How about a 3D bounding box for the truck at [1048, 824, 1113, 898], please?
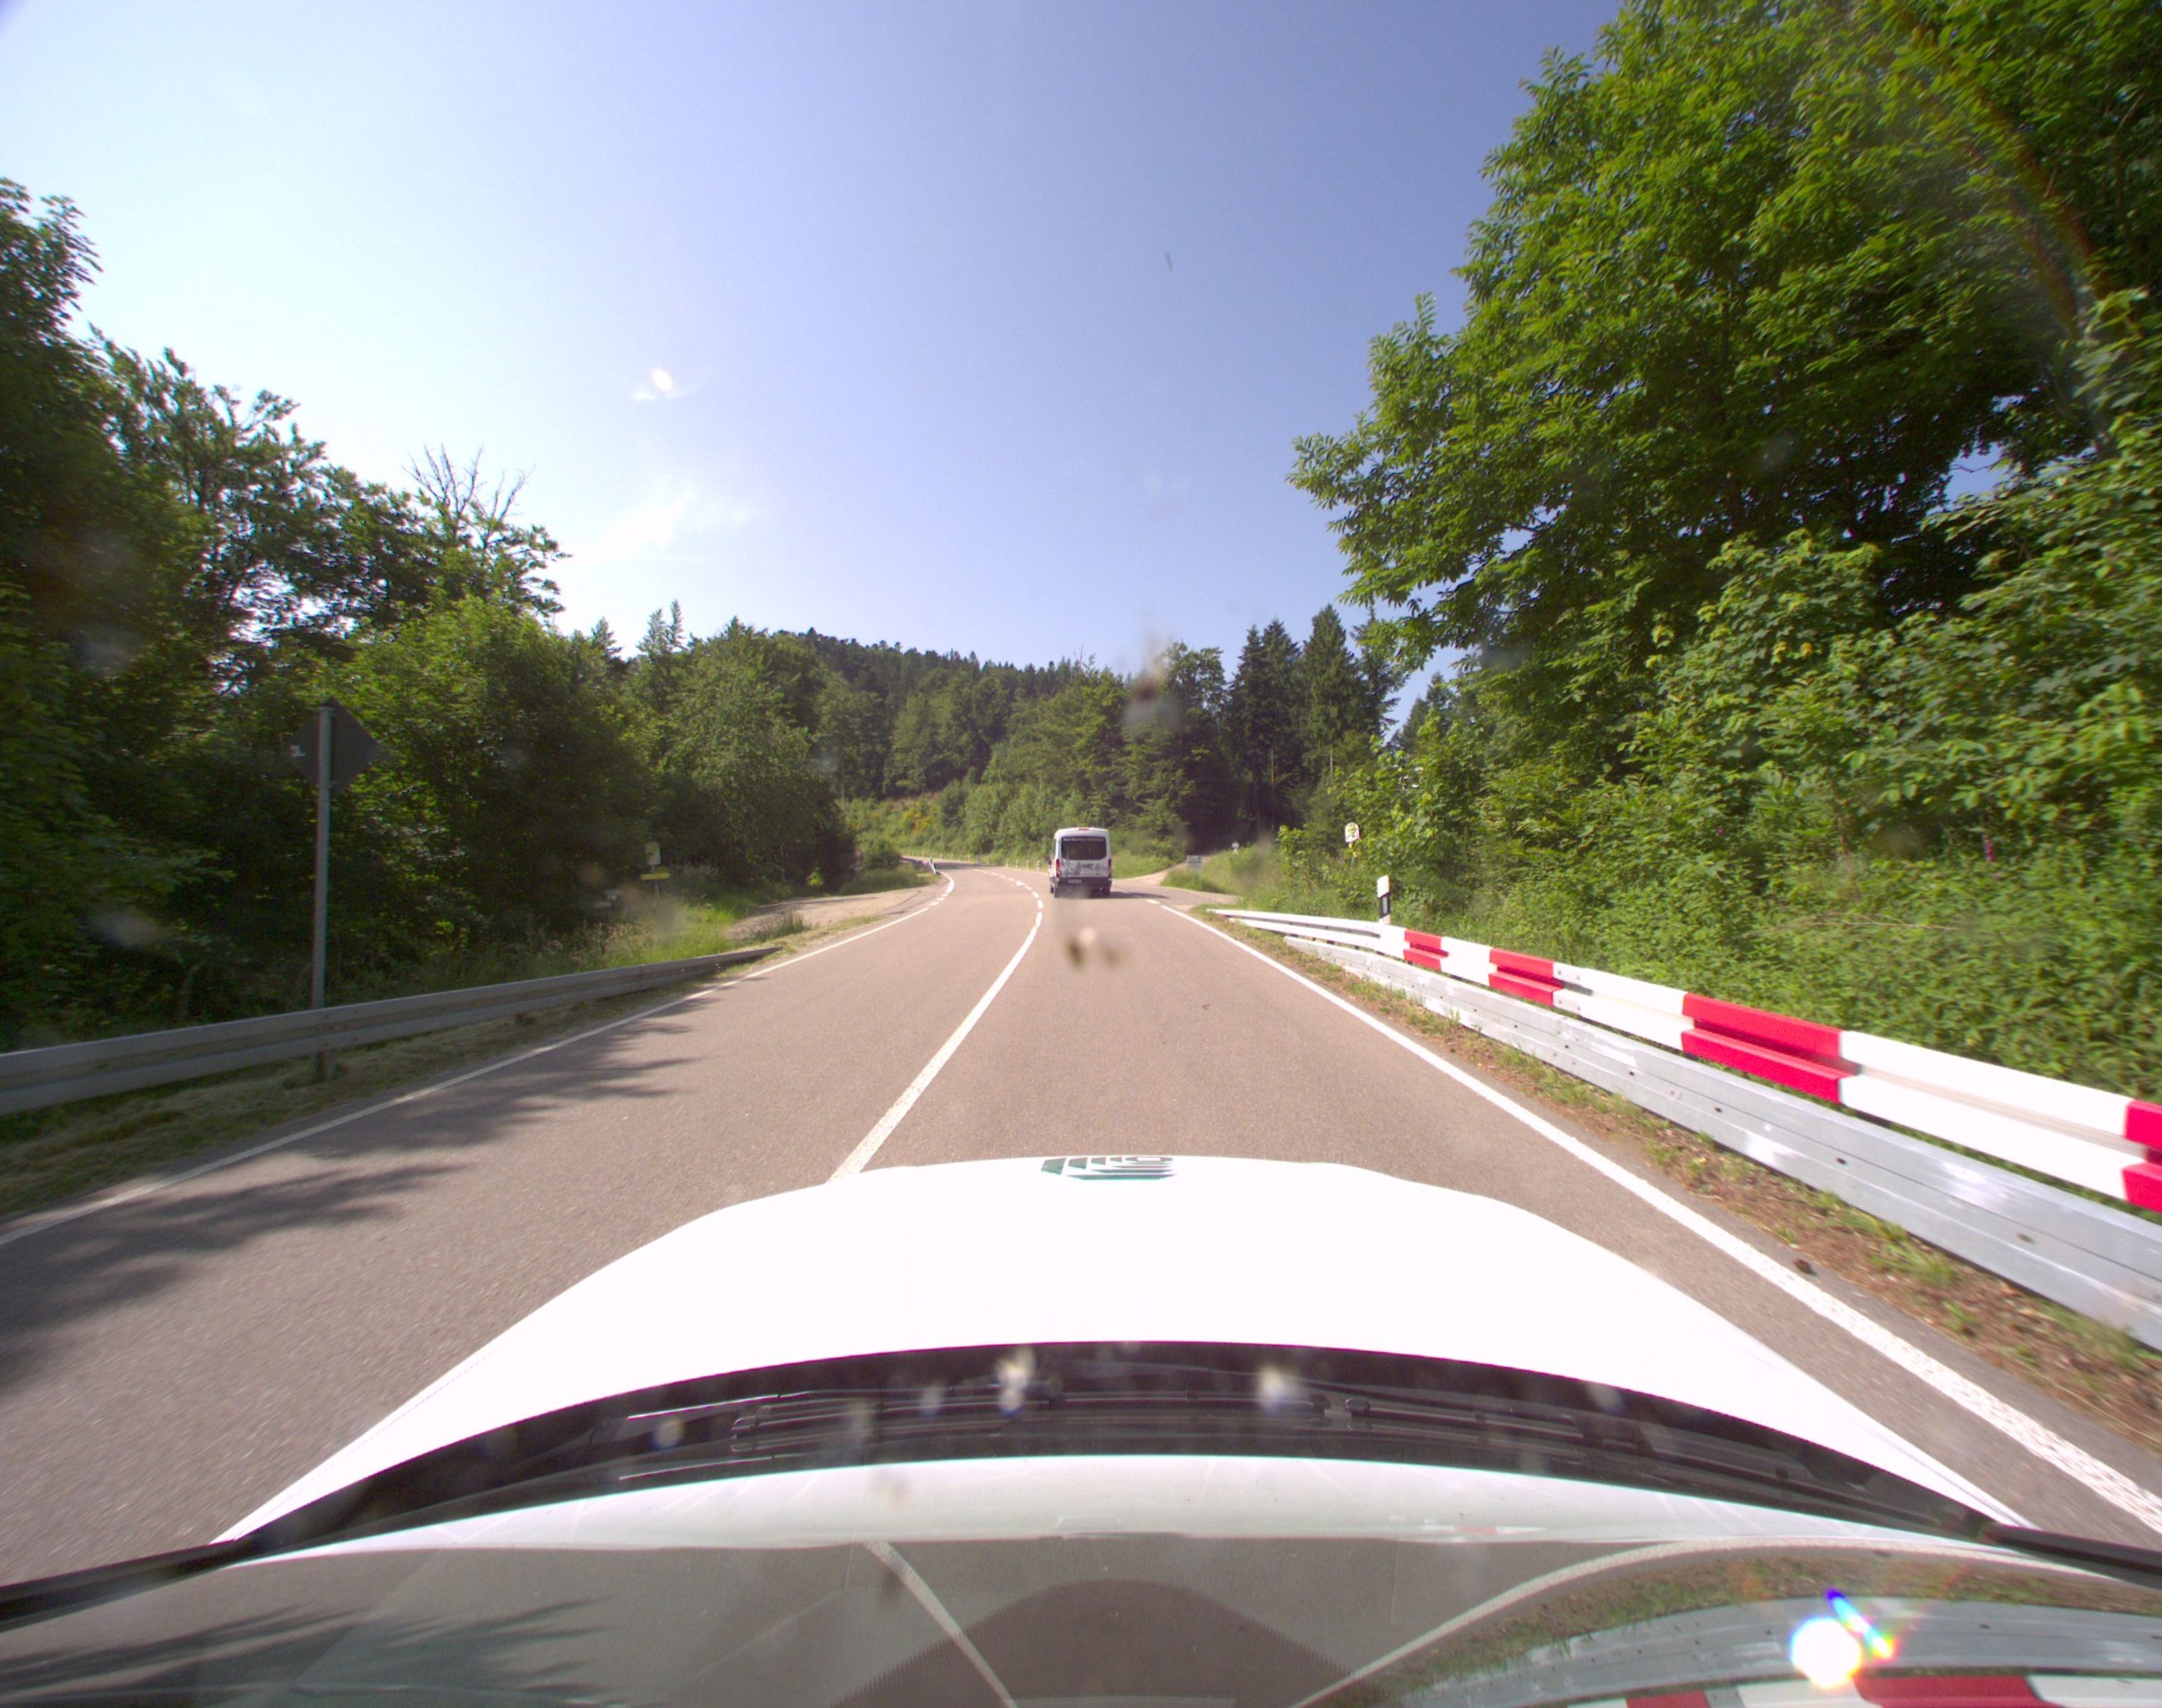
[{"bbox_3d":[-0.117,0.242,30.664,2.111,2.498,5.352,-1,0,-4],"label":"truck"}]
